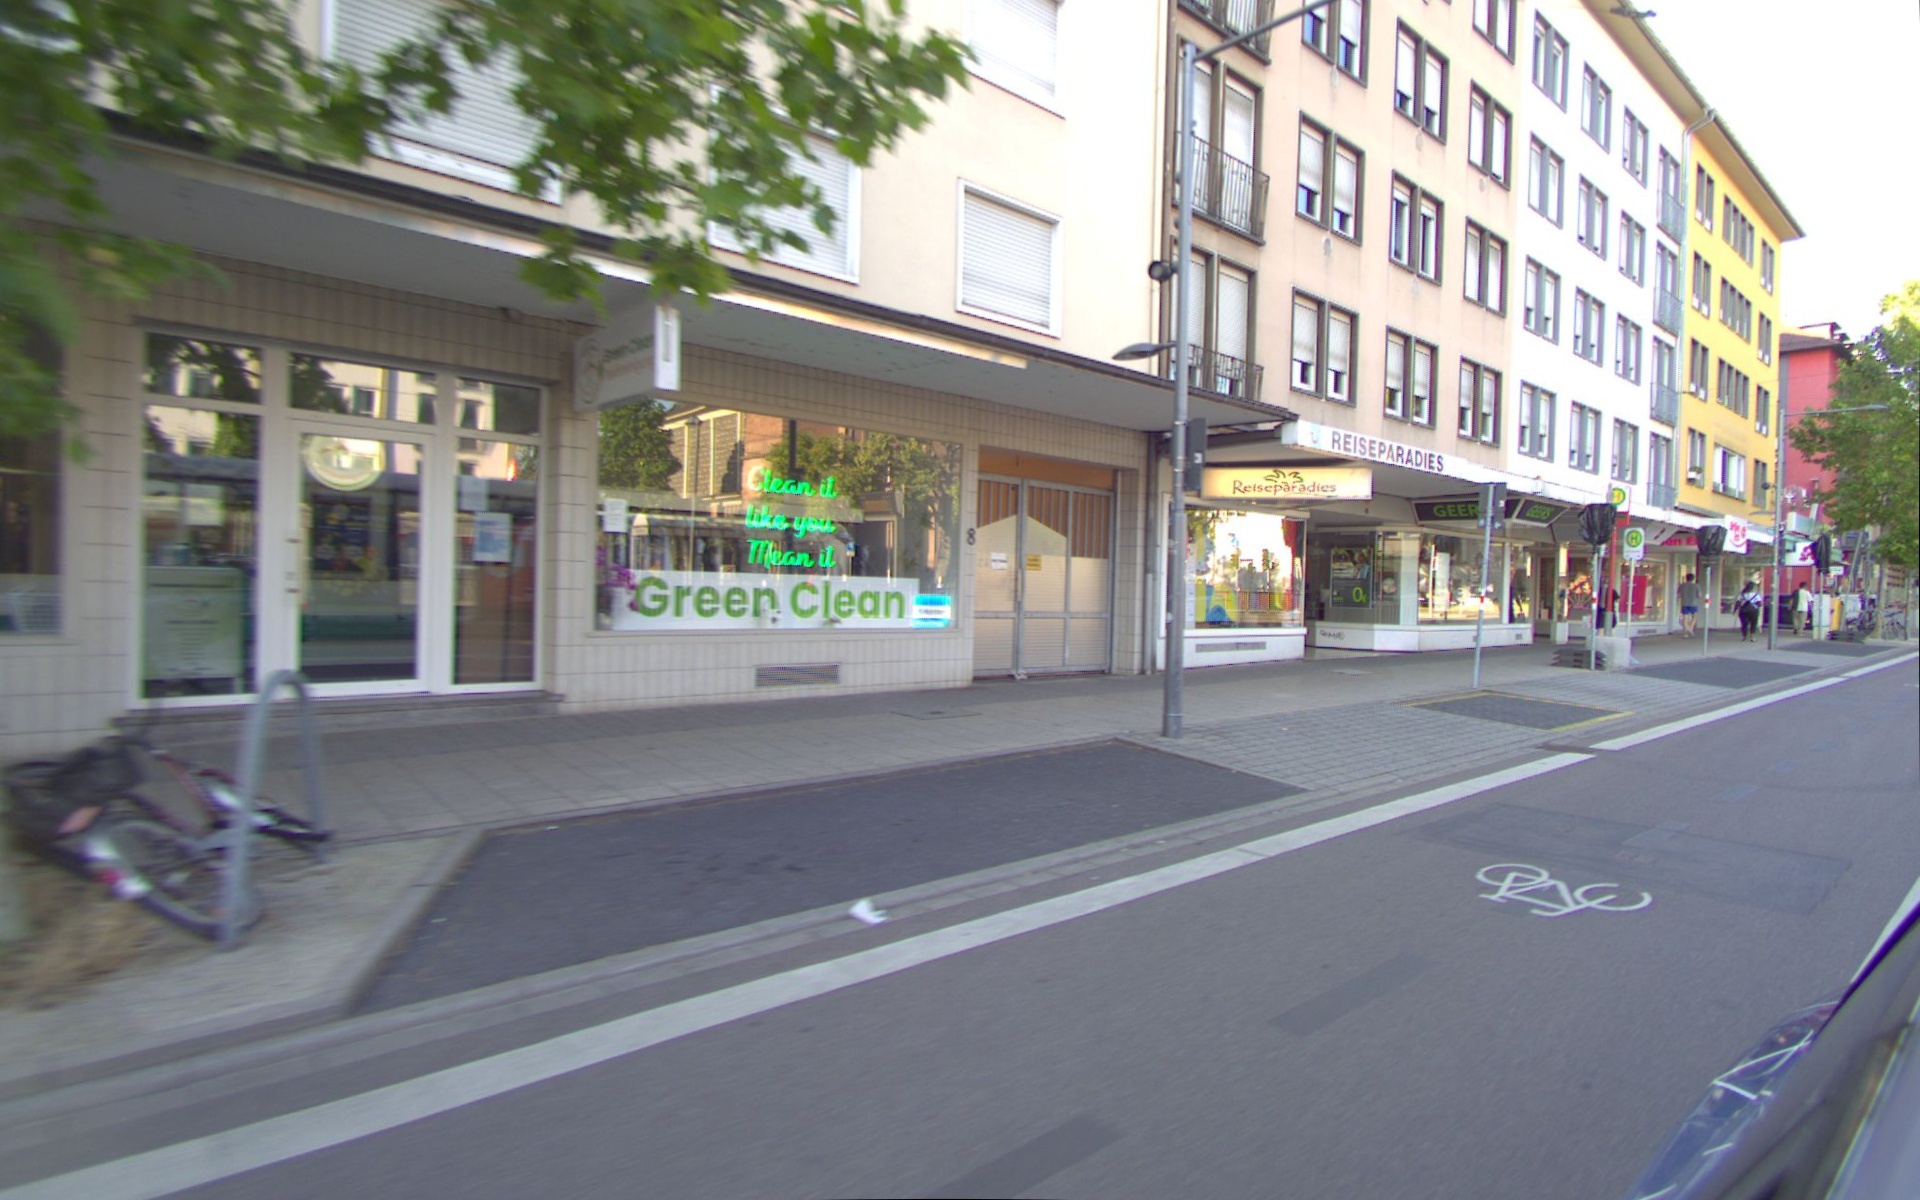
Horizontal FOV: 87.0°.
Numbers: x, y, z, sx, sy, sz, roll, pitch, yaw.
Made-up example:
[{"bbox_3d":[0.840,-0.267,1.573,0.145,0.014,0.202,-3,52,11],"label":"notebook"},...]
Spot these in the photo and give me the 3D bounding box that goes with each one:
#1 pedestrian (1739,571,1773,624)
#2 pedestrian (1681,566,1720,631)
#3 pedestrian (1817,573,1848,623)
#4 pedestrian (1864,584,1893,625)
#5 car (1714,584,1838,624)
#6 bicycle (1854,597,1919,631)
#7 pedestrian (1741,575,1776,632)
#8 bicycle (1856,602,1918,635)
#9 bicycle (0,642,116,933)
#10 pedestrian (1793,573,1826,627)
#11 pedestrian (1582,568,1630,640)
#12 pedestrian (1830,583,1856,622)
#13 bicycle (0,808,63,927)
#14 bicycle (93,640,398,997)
[{"bbox_3d":[26.856,-0.086,34.155,0.753,1.744,0.725,0,2,-41],"label":"pedestrian"},{"bbox_3d":[21.767,-0.046,29.732,0.753,1.863,0.725,0,2,-41],"label":"pedestrian"},{"bbox_3d":[32.566,-0.080,37.754,0.753,1.829,0.725,0,2,-41],"label":"pedestrian"},{"bbox_3d":[40.447,0.192,44.552,0.801,1.731,0.728,0,4,-40],"label":"pedestrian"},{"bbox_3d":[39.151,0.163,48.645,1.741,1.707,4.350,0,2,-40],"label":"car"},{"bbox_3d":[31.578,0.469,34.297,0.532,1.020,1.801,0,4,-43],"label":"bicycle"},{"bbox_3d":[22.979,0.103,29.117,0.836,1.598,0.611,0,2,-41],"label":"pedestrian"},{"bbox_3d":[31.013,0.595,33.881,0.446,1.020,1.484,0,2,-43],"label":"bicycle"},{"bbox_3d":[-4.203,0.681,3.799,1.671,0.952,0.652,1,10,15],"label":"bicycle"},{"bbox_3d":[28.988,-0.019,34.536,0.753,1.801,0.725,0,2,-41],"label":"pedestrian"},{"bbox_3d":[15.318,0.087,23.993,0.753,1.652,0.725,0,2,-41],"label":"pedestrian"},{"bbox_3d":[41.449,0.114,47.496,0.879,1.802,0.745,0,2,-41],"label":"pedestrian"},{"bbox_3d":[-3.791,0.802,2.900,1.765,0.632,0.942,5,39,19],"label":"bicycle"},{"bbox_3d":[-3.114,0.781,4.329,0.781,0.953,1.785,-1,6,-45],"label":"bicycle"}]
